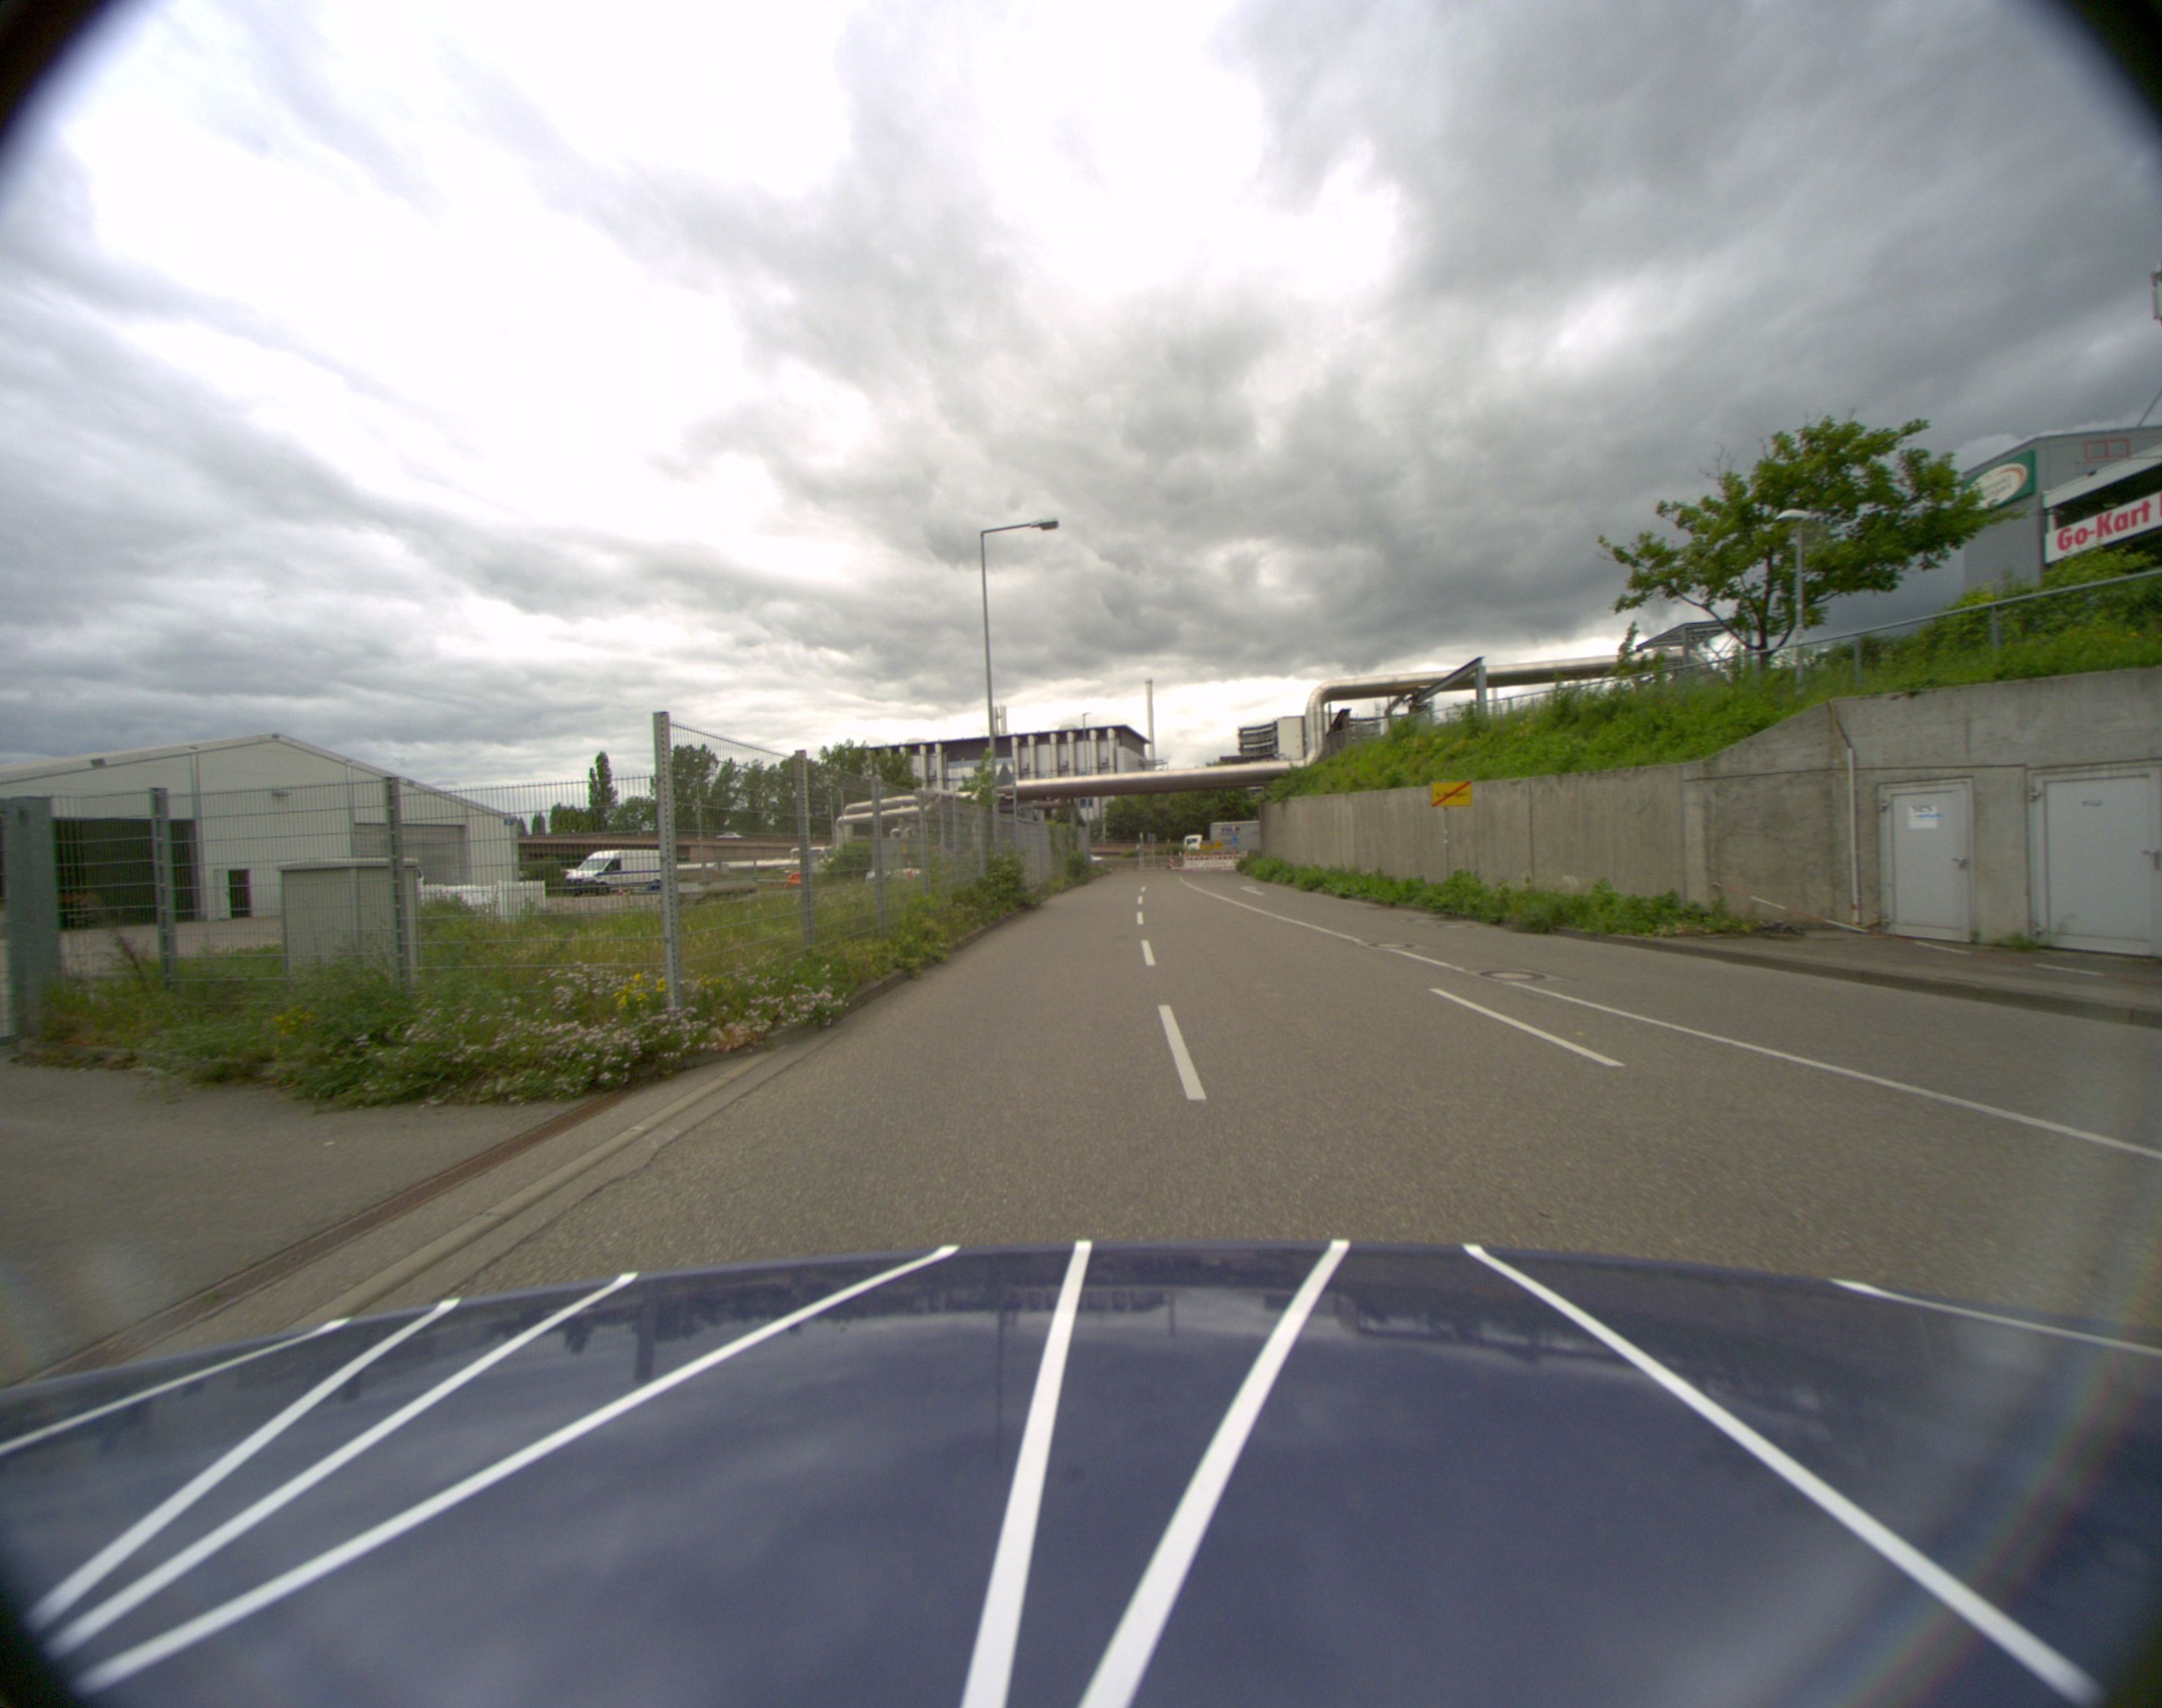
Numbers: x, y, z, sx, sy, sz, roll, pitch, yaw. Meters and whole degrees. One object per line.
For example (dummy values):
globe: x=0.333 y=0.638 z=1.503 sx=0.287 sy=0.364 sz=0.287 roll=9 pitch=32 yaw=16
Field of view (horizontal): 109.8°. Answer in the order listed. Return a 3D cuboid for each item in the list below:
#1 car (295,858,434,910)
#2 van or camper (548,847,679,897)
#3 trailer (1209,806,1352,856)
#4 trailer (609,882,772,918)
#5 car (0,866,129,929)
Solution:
car: x=-30.290 y=1.251 z=32.179 sx=4.333 sy=2.002 sz=2.001 roll=-2 pitch=1 yaw=10
van or camper: x=-26.416 y=0.960 z=43.301 sx=2.571 sy=2.534 sz=6.133 roll=-2 pitch=1 yaw=16
trailer: x=19.595 y=-2.293 z=75.396 sx=13.248 sy=4.300 sz=3.166 roll=-3 pitch=3 yaw=5
trailer: x=-12.908 y=1.498 z=25.537 sx=2.302 sy=0.811 sz=4.694 roll=-2 pitch=1 yaw=14
car: x=-42.151 y=1.766 z=31.133 sx=4.425 sy=2.362 sz=2.112 roll=-2 pitch=1 yaw=12
